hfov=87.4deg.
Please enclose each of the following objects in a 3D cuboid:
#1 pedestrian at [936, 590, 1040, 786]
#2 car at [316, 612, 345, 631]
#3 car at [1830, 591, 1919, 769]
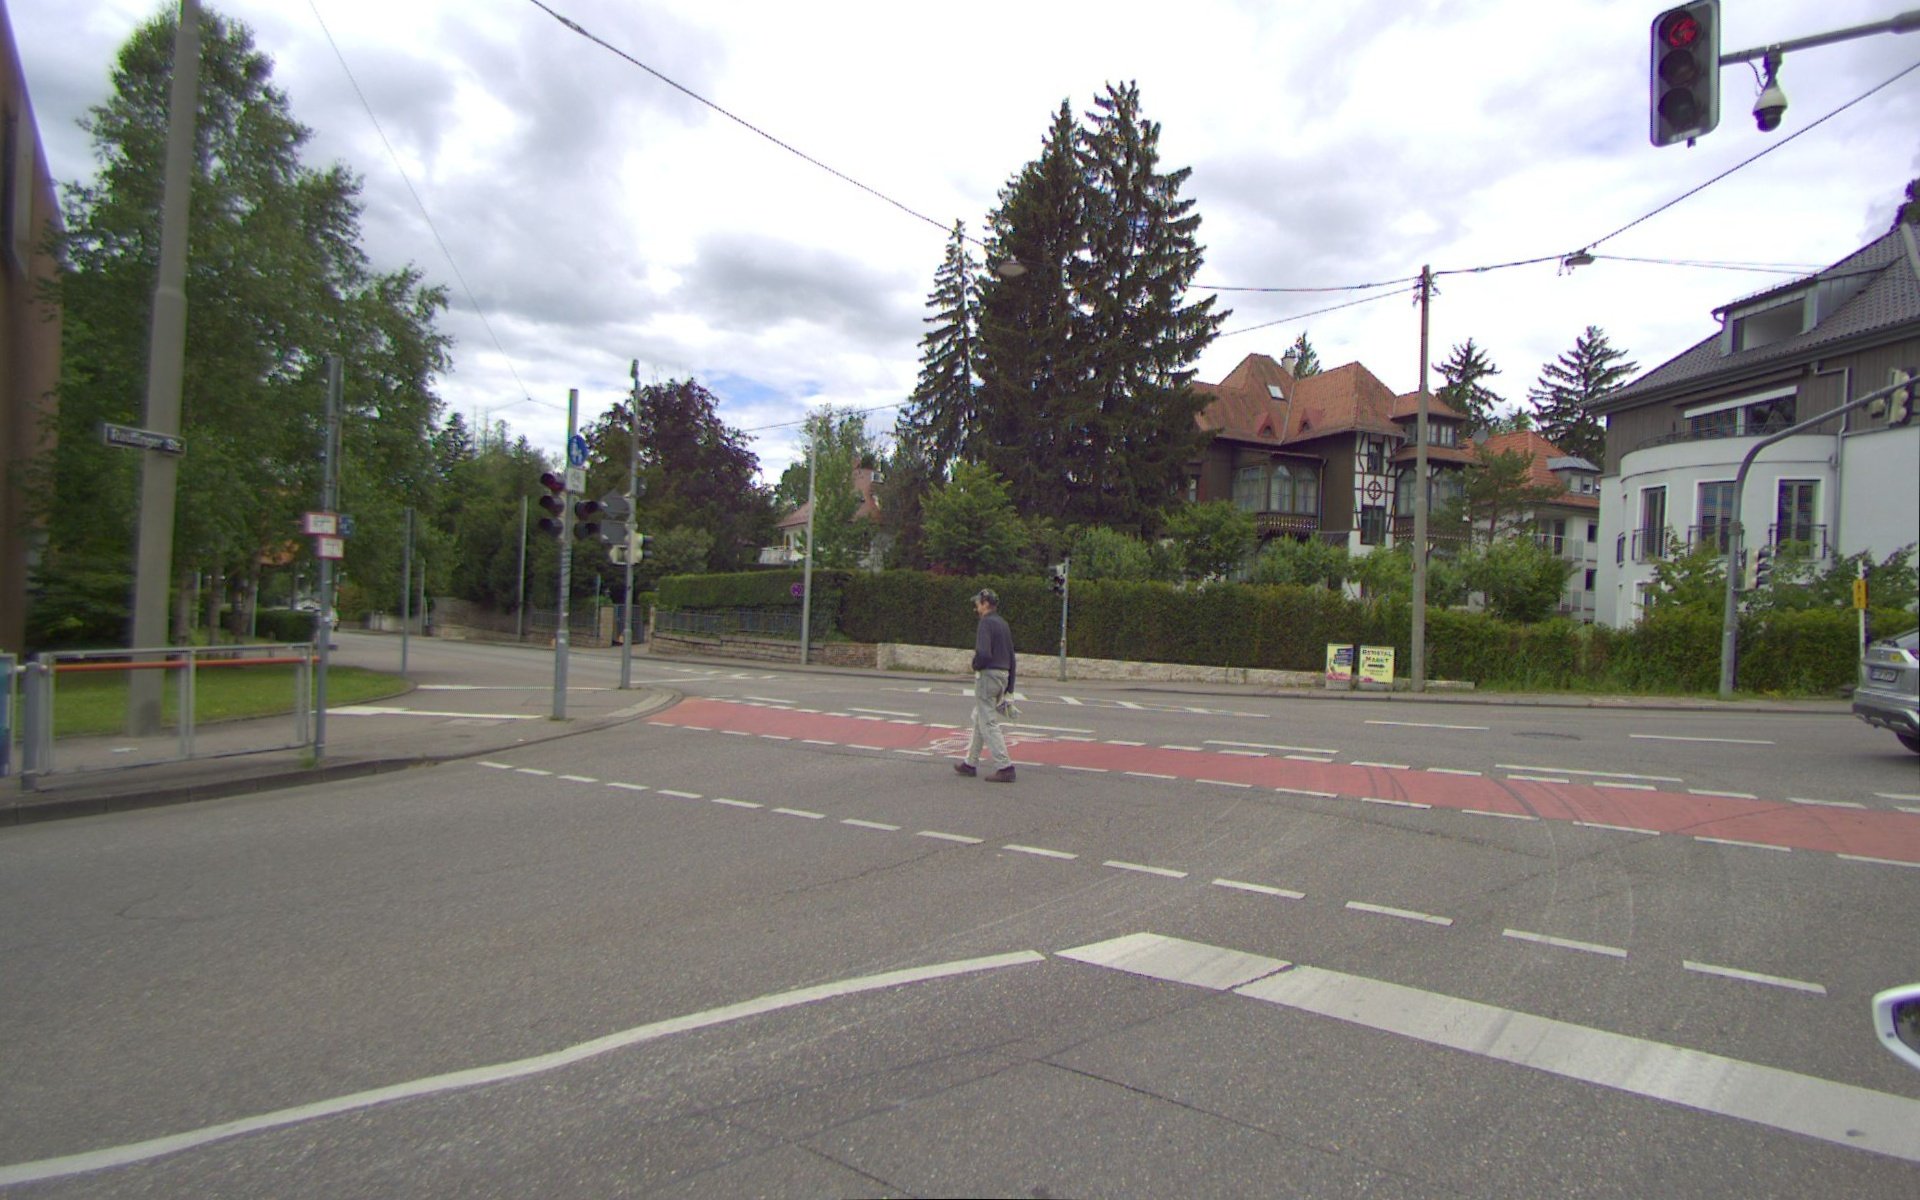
[{"bbox_3d":[0.257,0.748,8.925,0.726,1.655,0.683,-1,-1,22],"label":"pedestrian"},{"bbox_3d":[-59.678,2.039,95.231,1.798,1.734,3.990,2,-2,-39],"label":"car"},{"bbox_3d":[11.912,0.828,10.113,4.399,1.776,1.813,0,-1,21],"label":"car"}]
